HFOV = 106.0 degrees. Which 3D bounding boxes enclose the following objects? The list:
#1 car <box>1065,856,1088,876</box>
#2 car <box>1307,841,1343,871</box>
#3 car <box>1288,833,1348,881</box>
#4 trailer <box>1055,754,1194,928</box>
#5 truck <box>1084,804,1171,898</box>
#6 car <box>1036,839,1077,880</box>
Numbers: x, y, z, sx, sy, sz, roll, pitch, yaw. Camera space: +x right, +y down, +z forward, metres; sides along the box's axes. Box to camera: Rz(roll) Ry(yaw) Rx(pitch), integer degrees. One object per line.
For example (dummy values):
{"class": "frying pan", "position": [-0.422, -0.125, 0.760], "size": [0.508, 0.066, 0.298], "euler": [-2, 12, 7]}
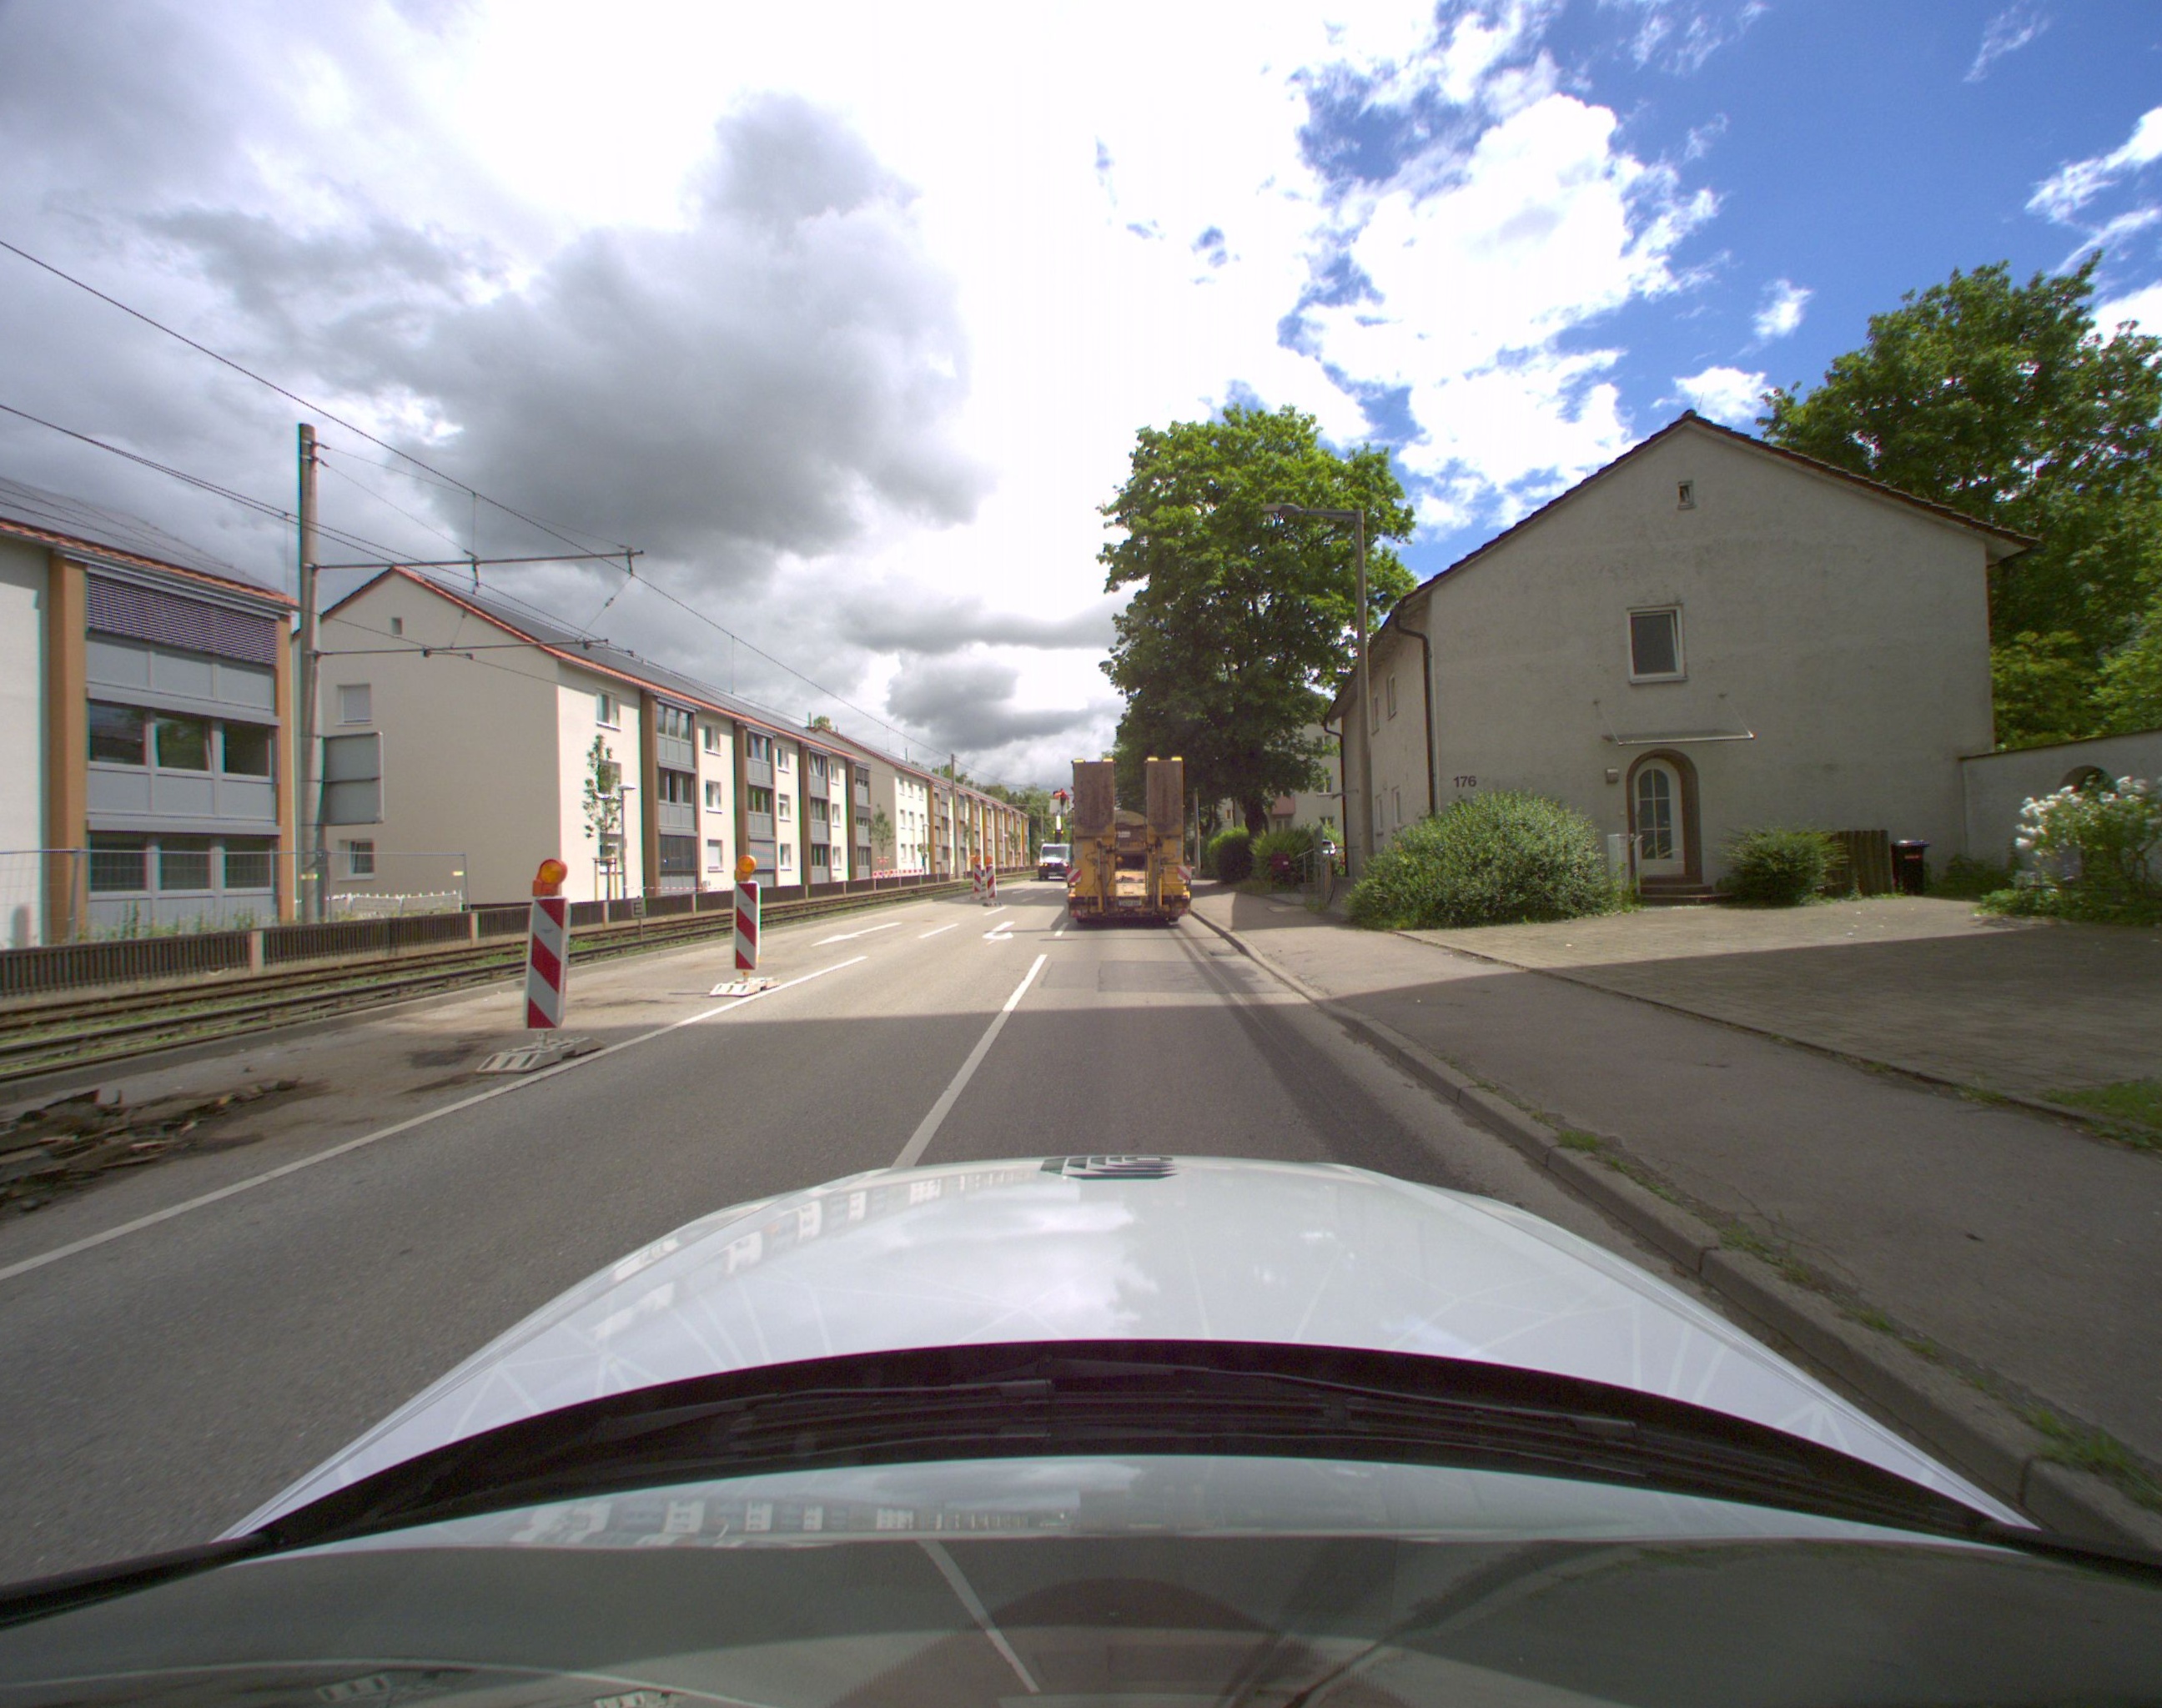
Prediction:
{"class": "car", "position": [-0.372, 0.984, 67.735], "size": [1.711, 1.552, 3.920], "euler": [-1, -1, 3]}
{"class": "car", "position": [13.131, 0.112, 43.943], "size": [1.651, 1.480, 3.707], "euler": [-3, -1, 14]}
{"class": "car", "position": [9.053, 0.119, 31.395], "size": [1.800, 1.649, 4.012], "euler": [-3, -1, 11]}
{"class": "trailer", "position": [1.191, -0.240, 22.081], "size": [2.811, 3.524, 11.061], "euler": [0, 0, 3]}
{"class": "truck", "position": [1.764, -0.068, 31.417], "size": [2.905, 3.167, 7.685], "euler": [0, 0, 3]}
{"class": "car", "position": [-1.491, 0.338, 52.125], "size": [1.985, 2.430, 6.328], "euler": [-1, 0, 4]}
